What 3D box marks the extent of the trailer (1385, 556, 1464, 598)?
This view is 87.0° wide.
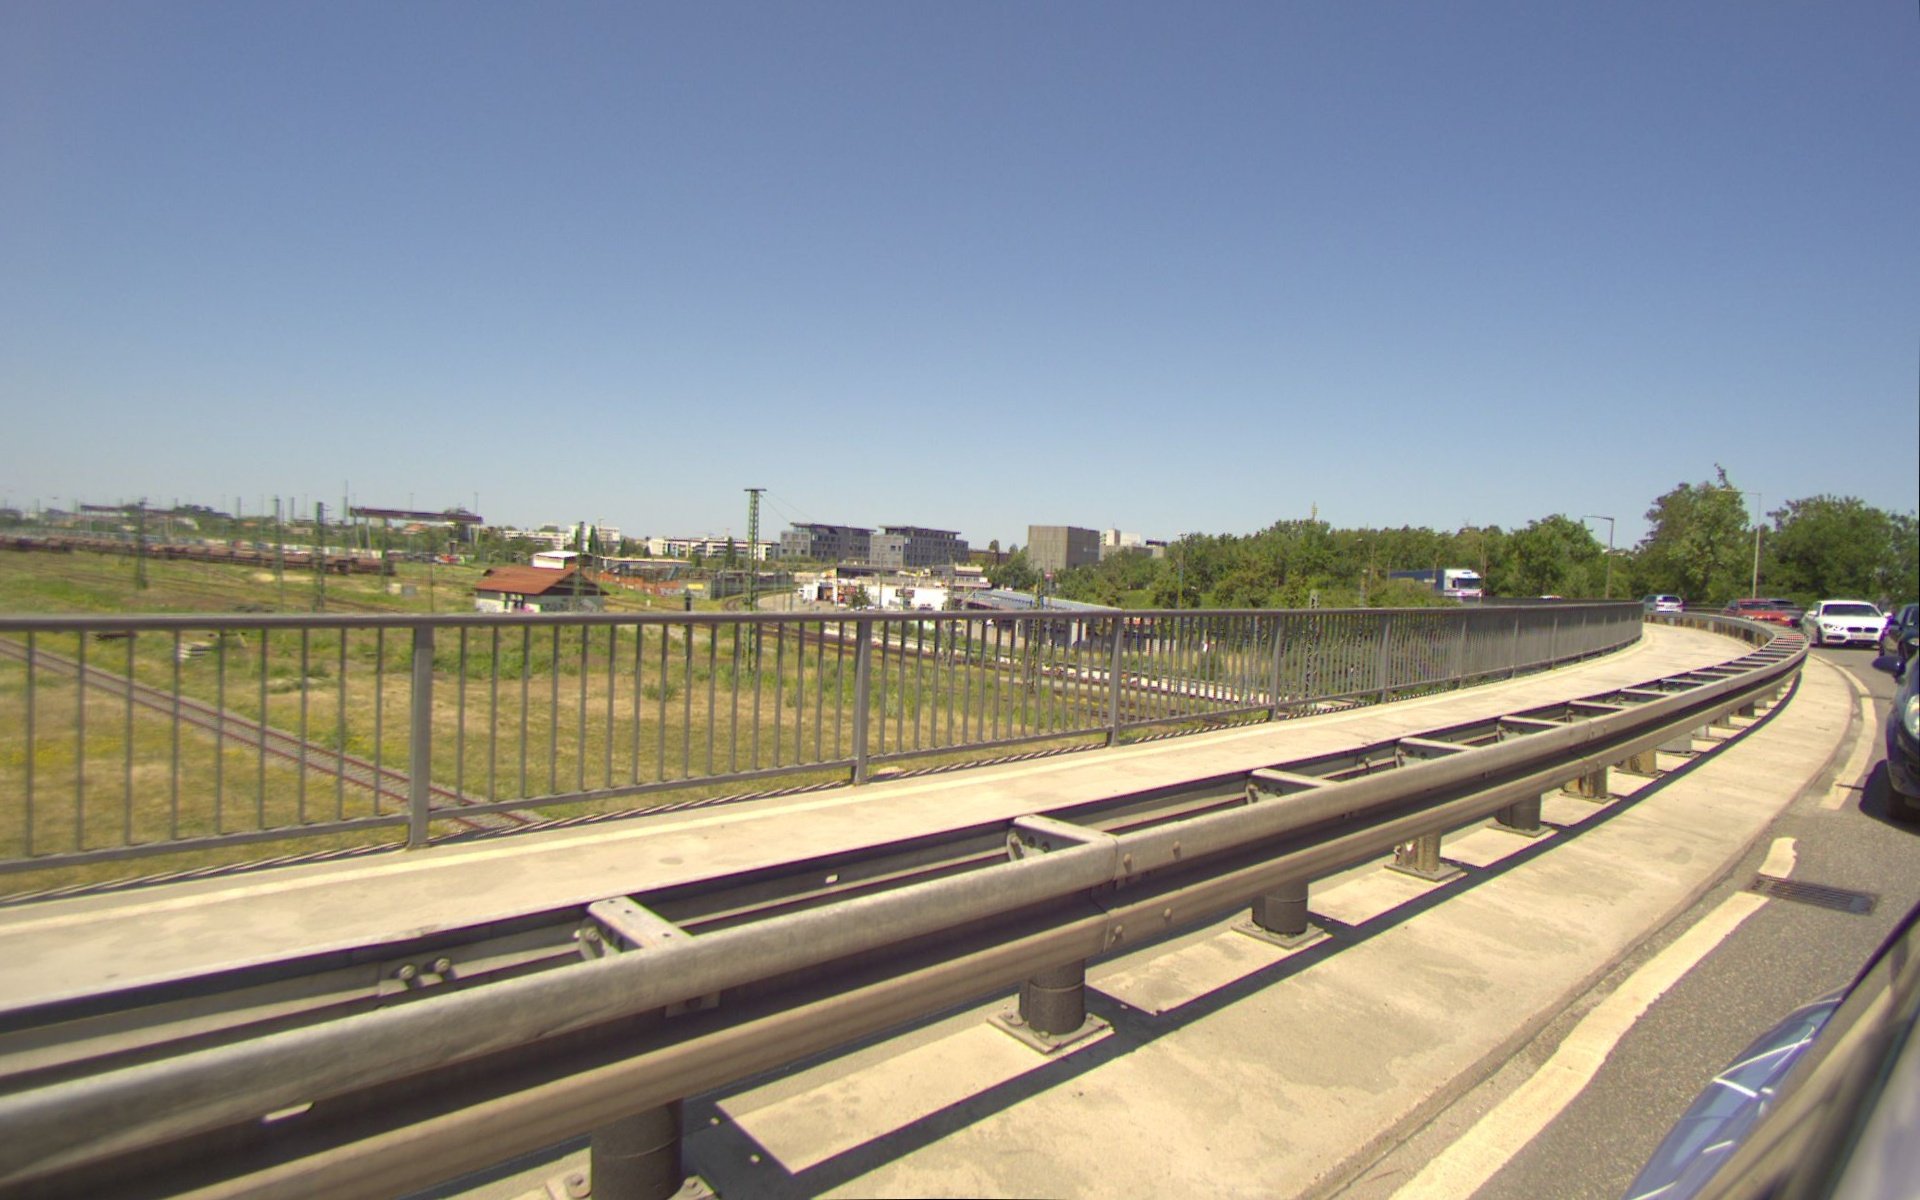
[{"bbox_3d":[50.089,-2.432,109.667,2.651,4.287,12.713,0,1,0],"label":"trailer"}]

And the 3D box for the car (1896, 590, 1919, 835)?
[{"bbox_3d":[7.651,0.678,6.837,3.932,1.457,1.643,0,1,-43],"label":"car"}]

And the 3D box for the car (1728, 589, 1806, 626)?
[{"bbox_3d":[34.834,0.294,43.812,1.779,1.473,4.480,1,1,28],"label":"car"}]

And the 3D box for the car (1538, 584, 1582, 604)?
[{"bbox_3d":[51.569,-0.539,87.050,1.670,1.627,3.993,2,1,7],"label":"car"}]

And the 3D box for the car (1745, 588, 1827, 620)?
[{"bbox_3d":[42.869,0.192,52.640,1.756,1.527,4.172,2,1,17],"label":"car"}]

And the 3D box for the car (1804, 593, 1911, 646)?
[{"bbox_3d":[27.132,0.534,30.730,1.783,1.473,4.469,1,1,34],"label":"car"}]

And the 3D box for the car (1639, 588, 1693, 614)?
[{"bbox_3d":[48.031,0.055,68.930,1.675,1.627,3.982,1,1,15],"label":"car"}]

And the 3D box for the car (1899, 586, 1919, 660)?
[{"bbox_3d":[20.885,0.454,21.142,1.789,1.473,4.454,1,1,42],"label":"car"}]

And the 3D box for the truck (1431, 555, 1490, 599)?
[{"bbox_3d":[50.018,-2.286,101.351,2.646,4.281,6.838,-1,1,1],"label":"truck"}]
